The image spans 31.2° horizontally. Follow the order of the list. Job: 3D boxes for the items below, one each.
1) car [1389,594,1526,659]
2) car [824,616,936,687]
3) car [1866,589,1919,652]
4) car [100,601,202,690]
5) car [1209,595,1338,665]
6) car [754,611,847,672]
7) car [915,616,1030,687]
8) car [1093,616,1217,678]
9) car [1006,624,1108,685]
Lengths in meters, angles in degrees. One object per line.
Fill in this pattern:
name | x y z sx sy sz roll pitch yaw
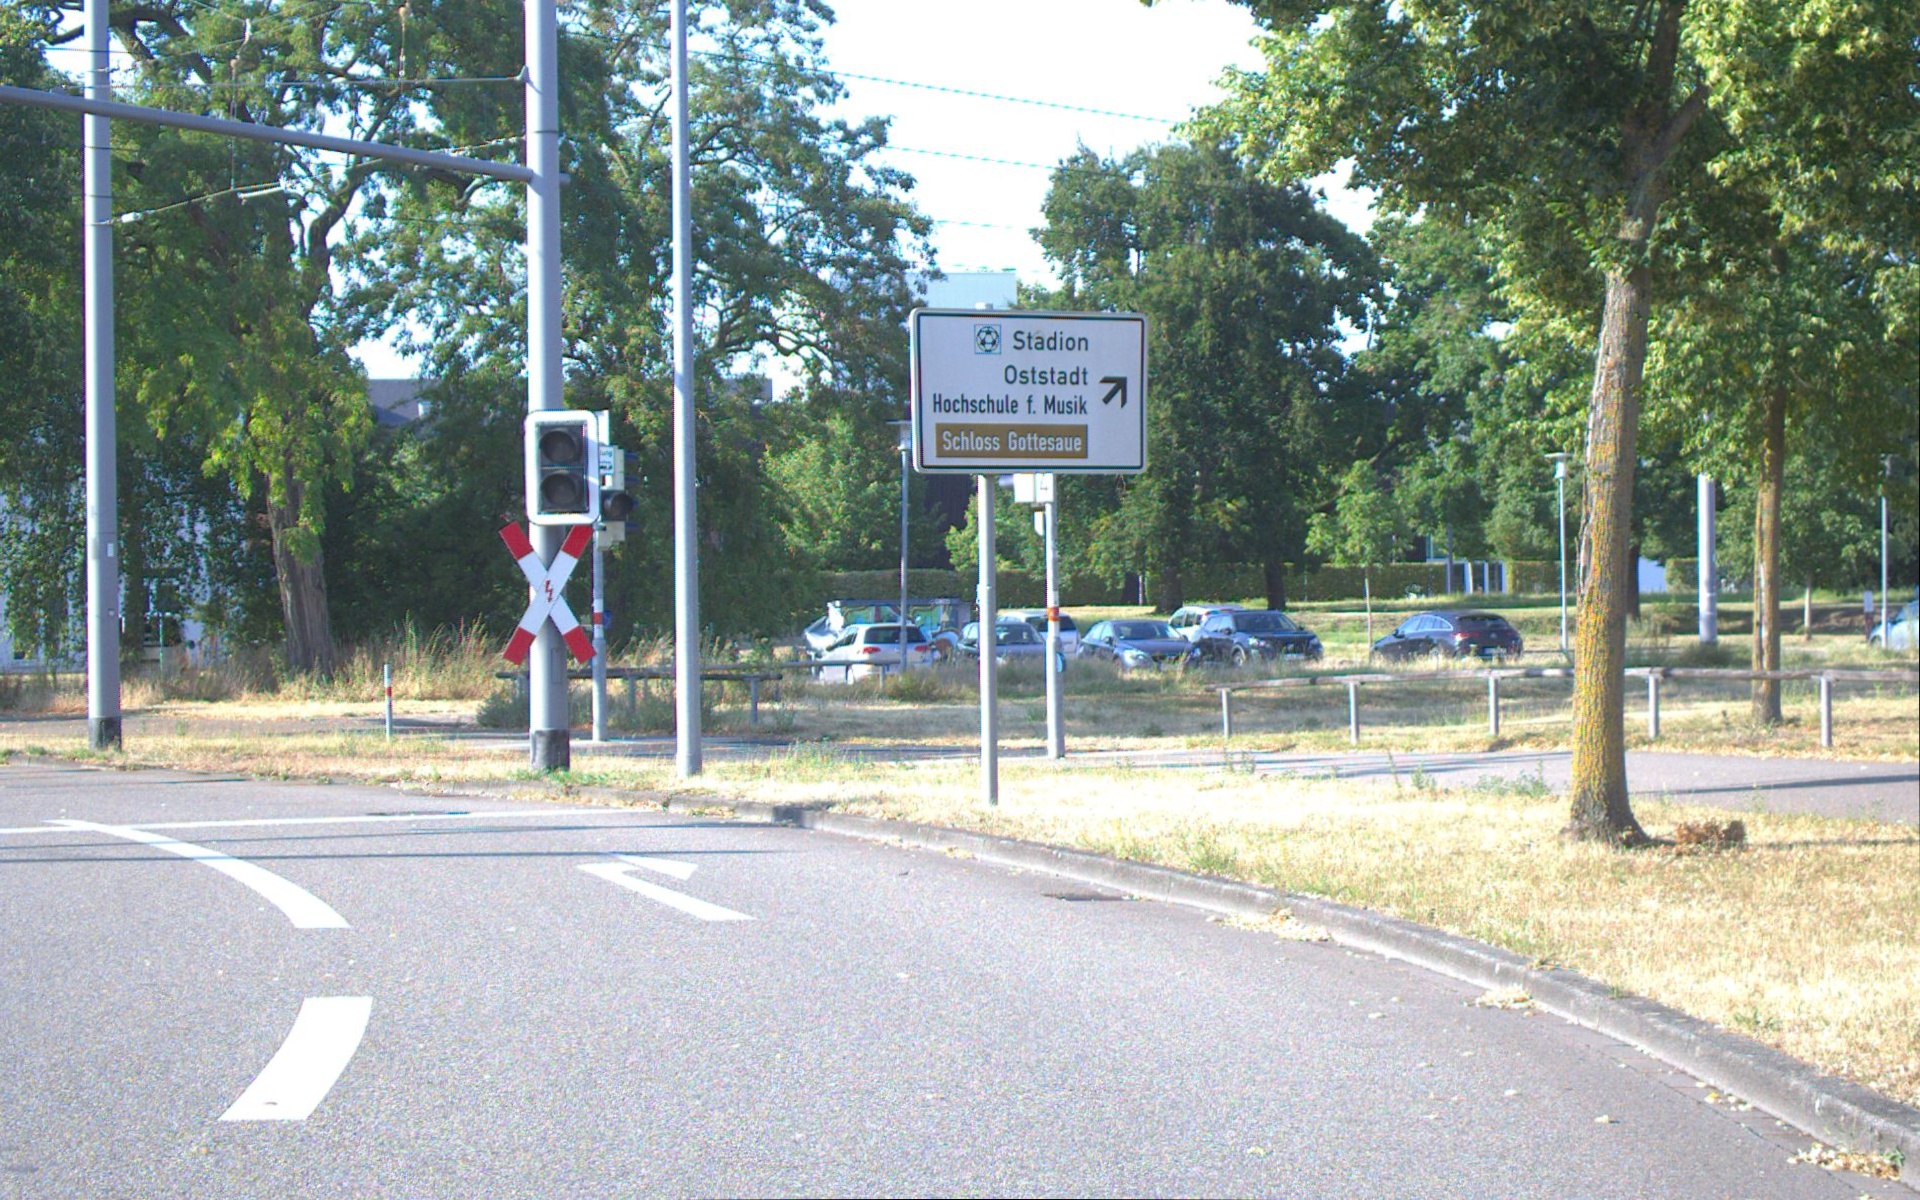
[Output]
car | 10.572 0.570 73.318 1.601 1.305 3.969 -1 0 -12
car | -1.674 1.054 70.718 1.601 1.397 3.969 -1 0 -12
car | 22.239 0.449 77.209 1.821 1.398 4.001 -1 0 -16
car | -15.543 0.868 66.196 1.771 1.612 3.969 -1 0 -12
car | 6.565 0.634 72.364 1.601 1.397 3.969 -1 0 -12
car | -3.864 0.991 82.695 1.601 1.397 3.969 -1 0 -12
car | 0.230 1.064 71.364 1.601 1.397 3.969 -1 0 -12
car | 4.026 0.976 71.682 1.601 1.217 3.969 -1 0 -12
car | 2.329 1.315 83.648 1.601 1.397 3.969 -1 0 -12
